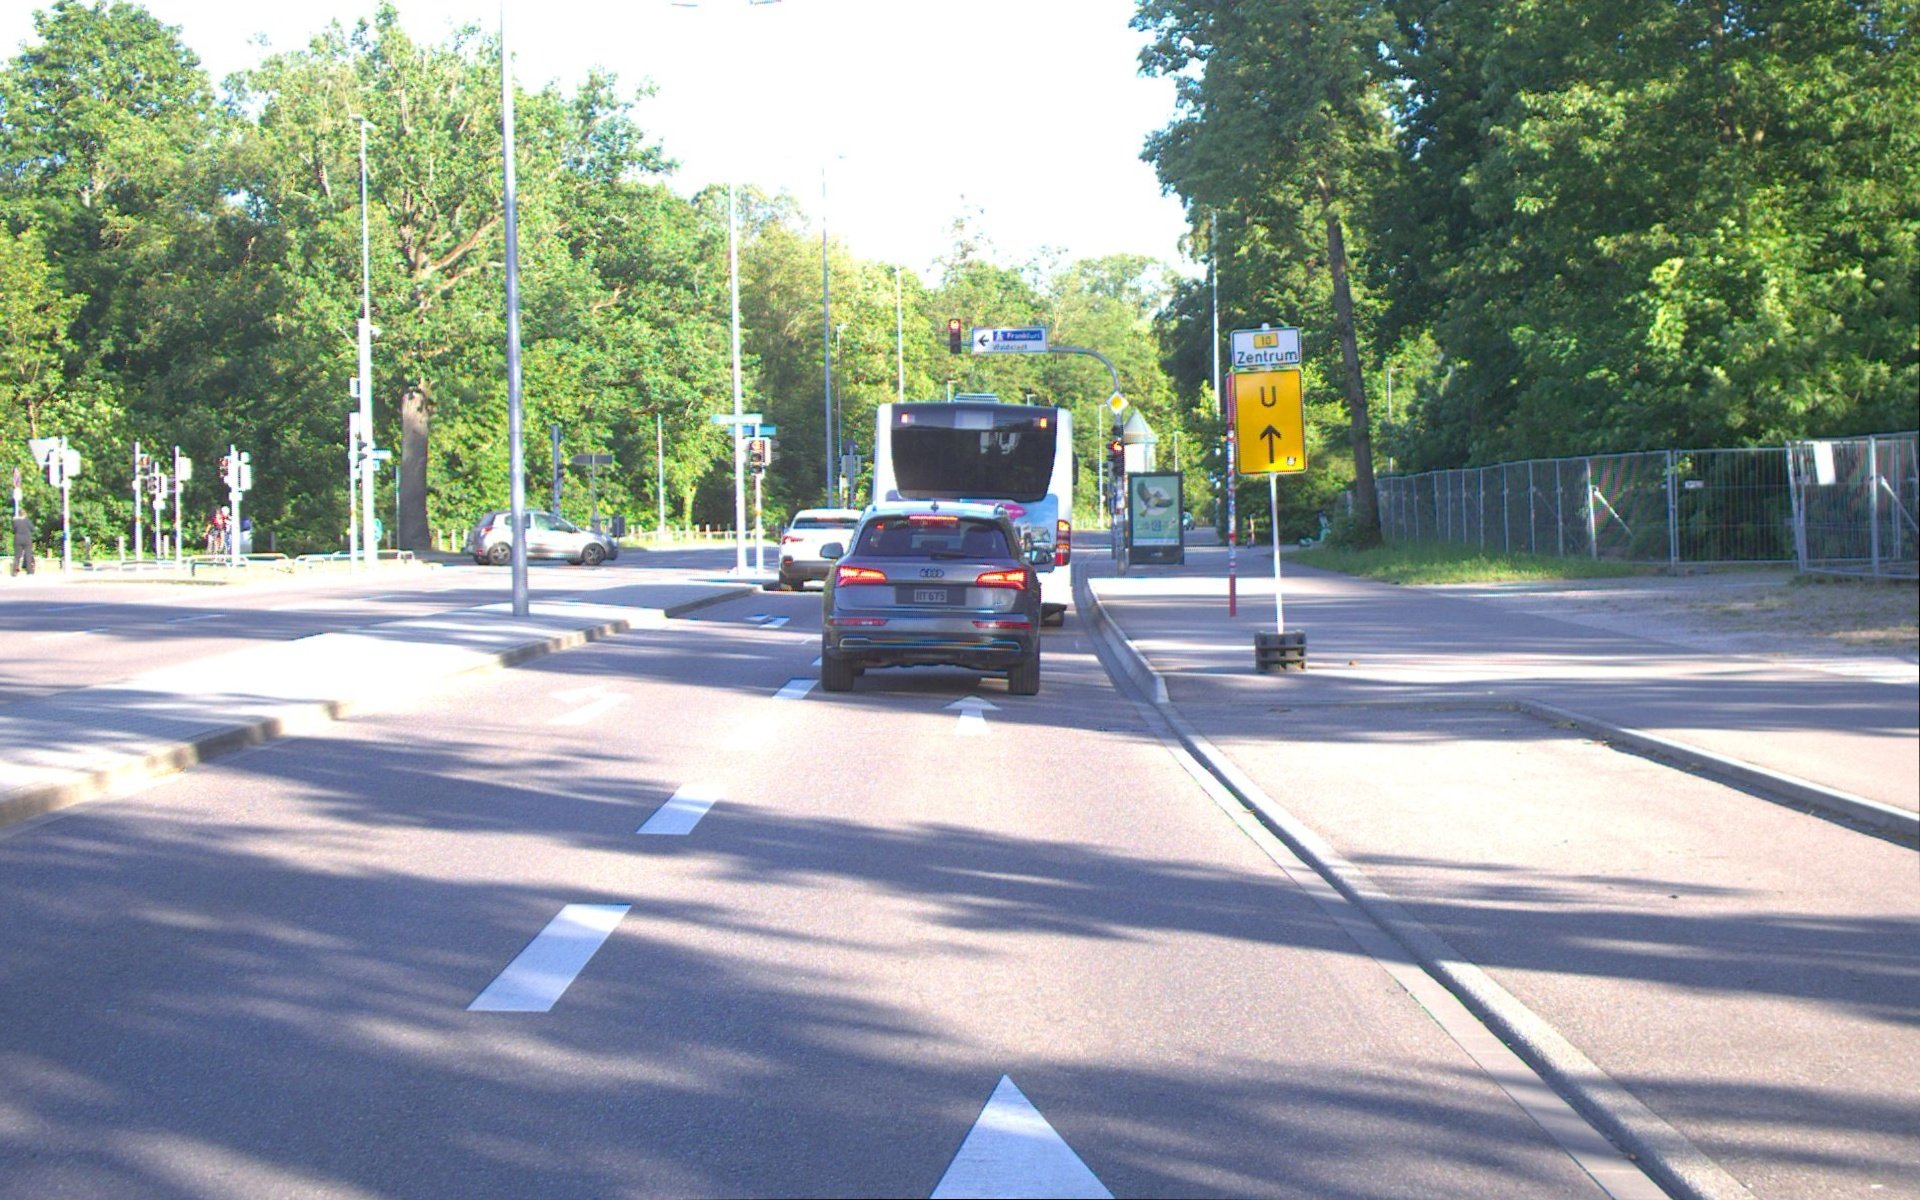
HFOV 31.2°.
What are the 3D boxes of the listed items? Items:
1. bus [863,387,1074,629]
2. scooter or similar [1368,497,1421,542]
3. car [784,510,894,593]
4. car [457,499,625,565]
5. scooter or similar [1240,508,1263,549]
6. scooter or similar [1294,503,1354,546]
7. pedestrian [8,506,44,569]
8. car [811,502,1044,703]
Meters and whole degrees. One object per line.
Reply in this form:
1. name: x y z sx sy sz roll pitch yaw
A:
1. bus: 0.211 -1.241 47.570 2.595 2.978 9.327 1 1 1
2. scooter or similar: 15.276 -2.821 120.957 0.539 1.562 2.022 -2 2 -38
3. car: -2.260 -0.940 65.037 1.836 1.513 4.000 0 2 1
4. car: -11.196 -1.811 91.900 3.986 1.634 2.066 -2 2 -24
5. scooter or similar: 10.357 -2.541 122.240 0.508 1.439 2.023 -1 2 -4
6. scooter or similar: 12.678 -2.635 119.768 2.015 1.439 0.606 -2 2 -23
7. pedestrian: -23.065 -1.548 84.891 0.647 1.554 0.539 -2 2 -40
8. car: -0.226 -0.038 30.448 1.898 1.626 4.000 1 2 1
